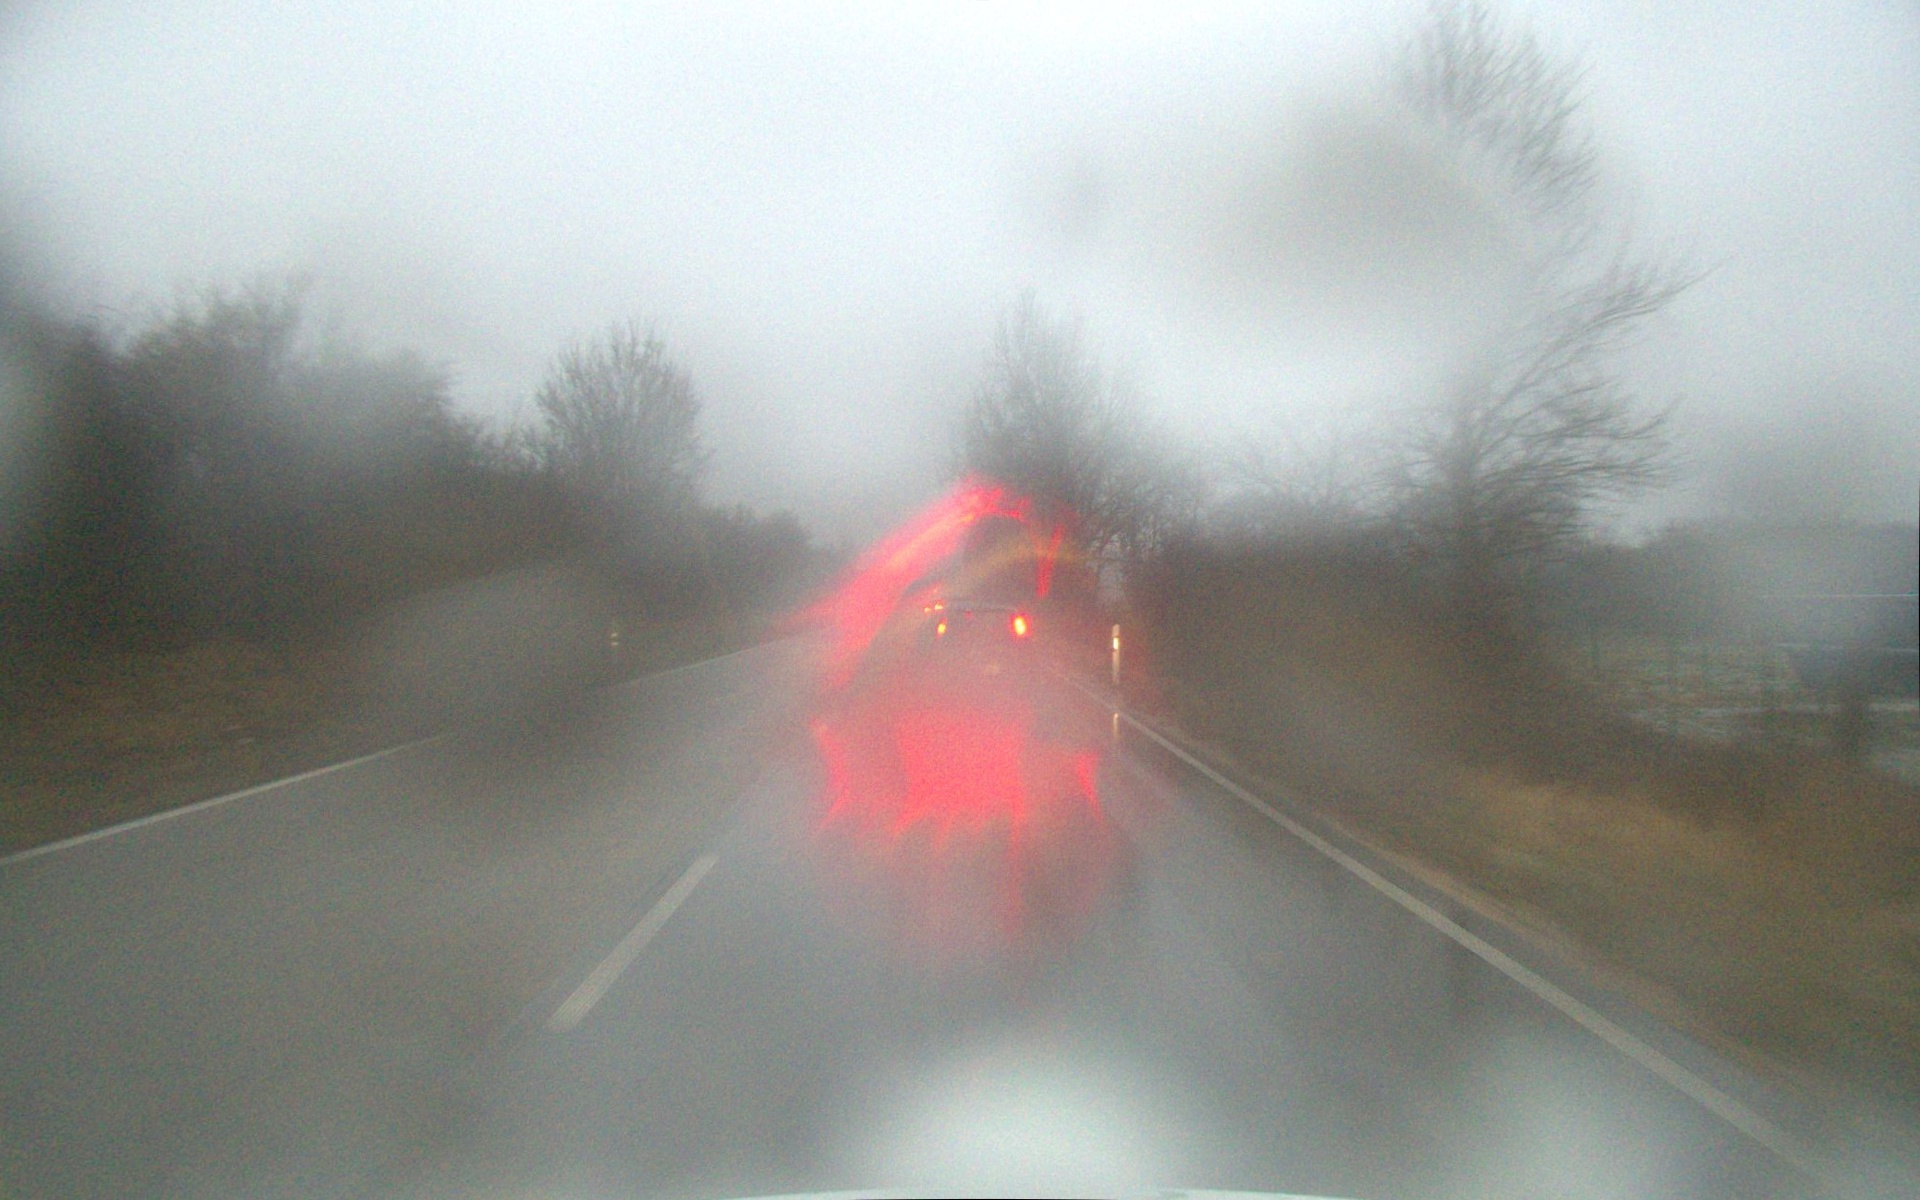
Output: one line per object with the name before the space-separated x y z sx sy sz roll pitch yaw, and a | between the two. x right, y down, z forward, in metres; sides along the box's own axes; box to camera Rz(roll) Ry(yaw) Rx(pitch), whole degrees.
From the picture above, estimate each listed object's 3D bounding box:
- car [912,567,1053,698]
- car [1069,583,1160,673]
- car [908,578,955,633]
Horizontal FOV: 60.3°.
car | 0.343 0.451 25.419 1.952 1.816 4.000 1 0 1
car | 2.963 0.504 32.236 1.531 1.619 3.489 1 0 2
car | -1.016 0.182 60.235 1.542 1.907 3.709 1 0 1
